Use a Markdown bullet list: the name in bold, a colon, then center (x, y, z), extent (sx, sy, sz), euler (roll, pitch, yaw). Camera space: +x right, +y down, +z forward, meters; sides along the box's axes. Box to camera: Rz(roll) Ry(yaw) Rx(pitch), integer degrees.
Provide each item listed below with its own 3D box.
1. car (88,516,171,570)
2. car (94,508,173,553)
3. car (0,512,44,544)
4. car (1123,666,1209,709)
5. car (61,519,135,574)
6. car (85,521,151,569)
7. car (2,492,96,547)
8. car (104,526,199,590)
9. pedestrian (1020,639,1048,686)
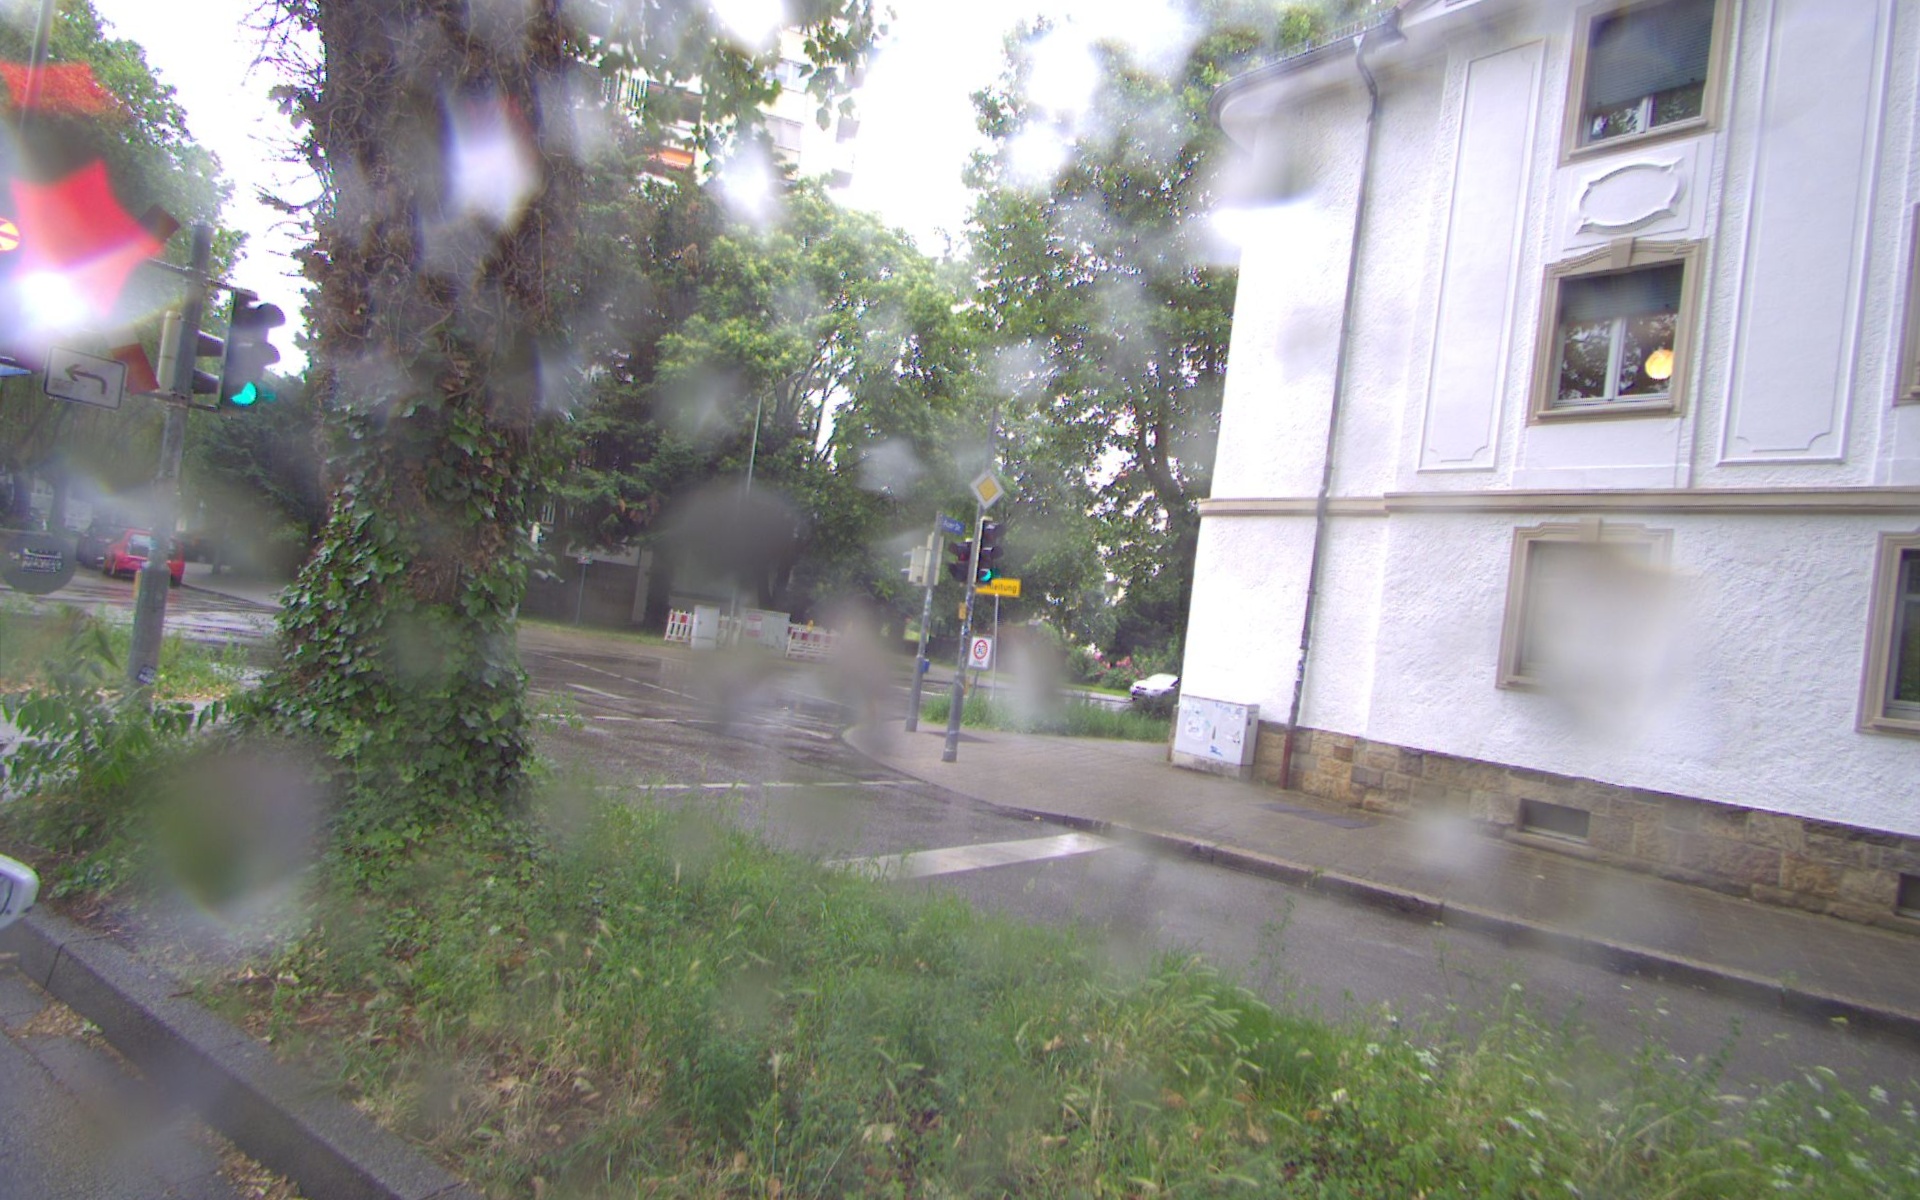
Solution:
- **car**: center (-28.101, -1.938, 34.006), extent (1.780, 1.363, 3.879), euler (10, -2, -44)
- **car**: center (-69.652, -5.849, 84.819), extent (4.683, 2.982, 2.001), euler (7, -1, 1)
- **car**: center (-56.208, -4.381, 58.634), extent (1.974, 1.565, 3.980), euler (6, -3, 44)
- **car**: center (9.408, 3.999, 45.812), extent (1.829, 1.473, 3.979), euler (6, -3, 45)
- **car**: center (-32.986, -2.079, 38.460), extent (1.779, 1.747, 3.951), euler (9, -2, -44)
- **car**: center (-38.727, -2.554, 46.235), extent (1.918, 1.826, 3.951), euler (9, -2, -44)
- **car**: center (-61.114, -5.396, 67.538), extent (4.680, 2.982, 2.043), euler (7, -1, 12)
- **car**: center (-24.835, -1.309, 30.849), extent (1.788, 1.515, 3.950), euler (10, -2, -44)
- **pedestrian**: center (3.135, 2.647, 42.492), extent (0.709, 1.863, 0.673), euler (8, -1, -33)
